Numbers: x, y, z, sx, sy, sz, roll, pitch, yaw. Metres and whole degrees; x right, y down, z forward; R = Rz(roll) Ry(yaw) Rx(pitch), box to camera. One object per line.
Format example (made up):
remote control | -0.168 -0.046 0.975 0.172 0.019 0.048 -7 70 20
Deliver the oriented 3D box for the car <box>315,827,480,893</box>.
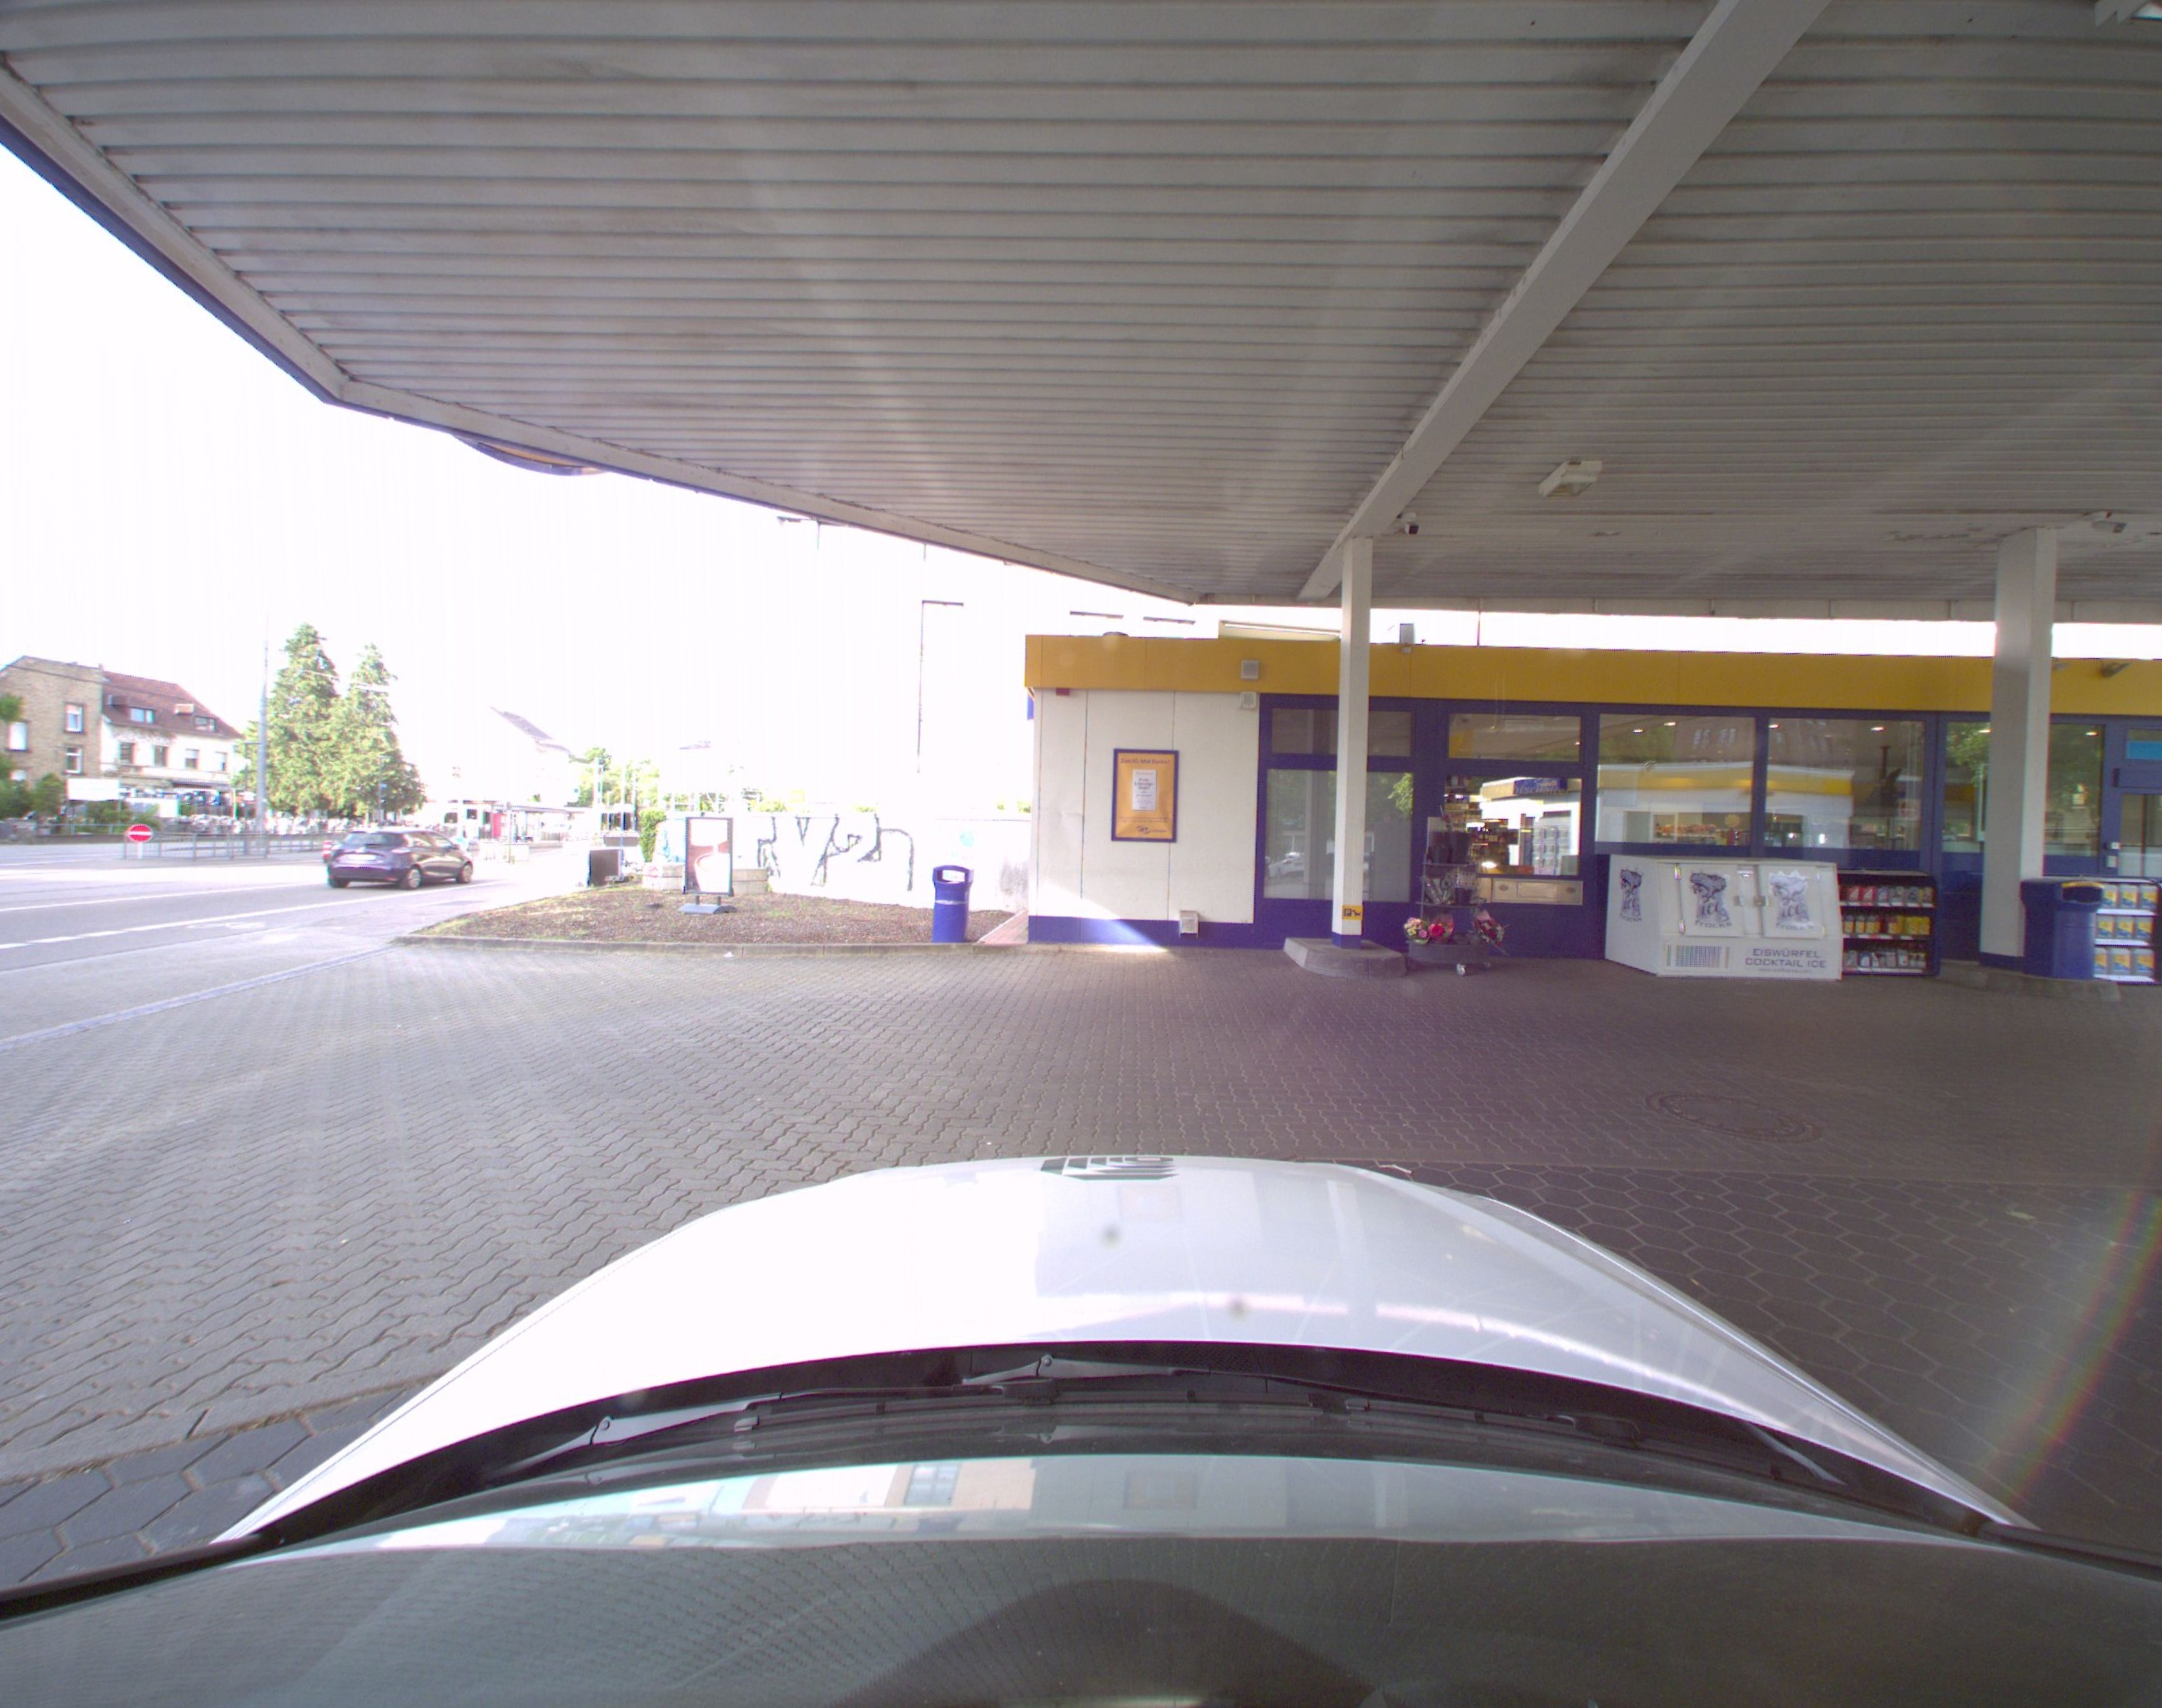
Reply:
car | -17.839 0.099 21.507 1.728 1.542 3.981 2 1 -15

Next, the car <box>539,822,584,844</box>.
car | -47.577 -1.934 74.689 1.963 1.889 4.394 1 0 -12
